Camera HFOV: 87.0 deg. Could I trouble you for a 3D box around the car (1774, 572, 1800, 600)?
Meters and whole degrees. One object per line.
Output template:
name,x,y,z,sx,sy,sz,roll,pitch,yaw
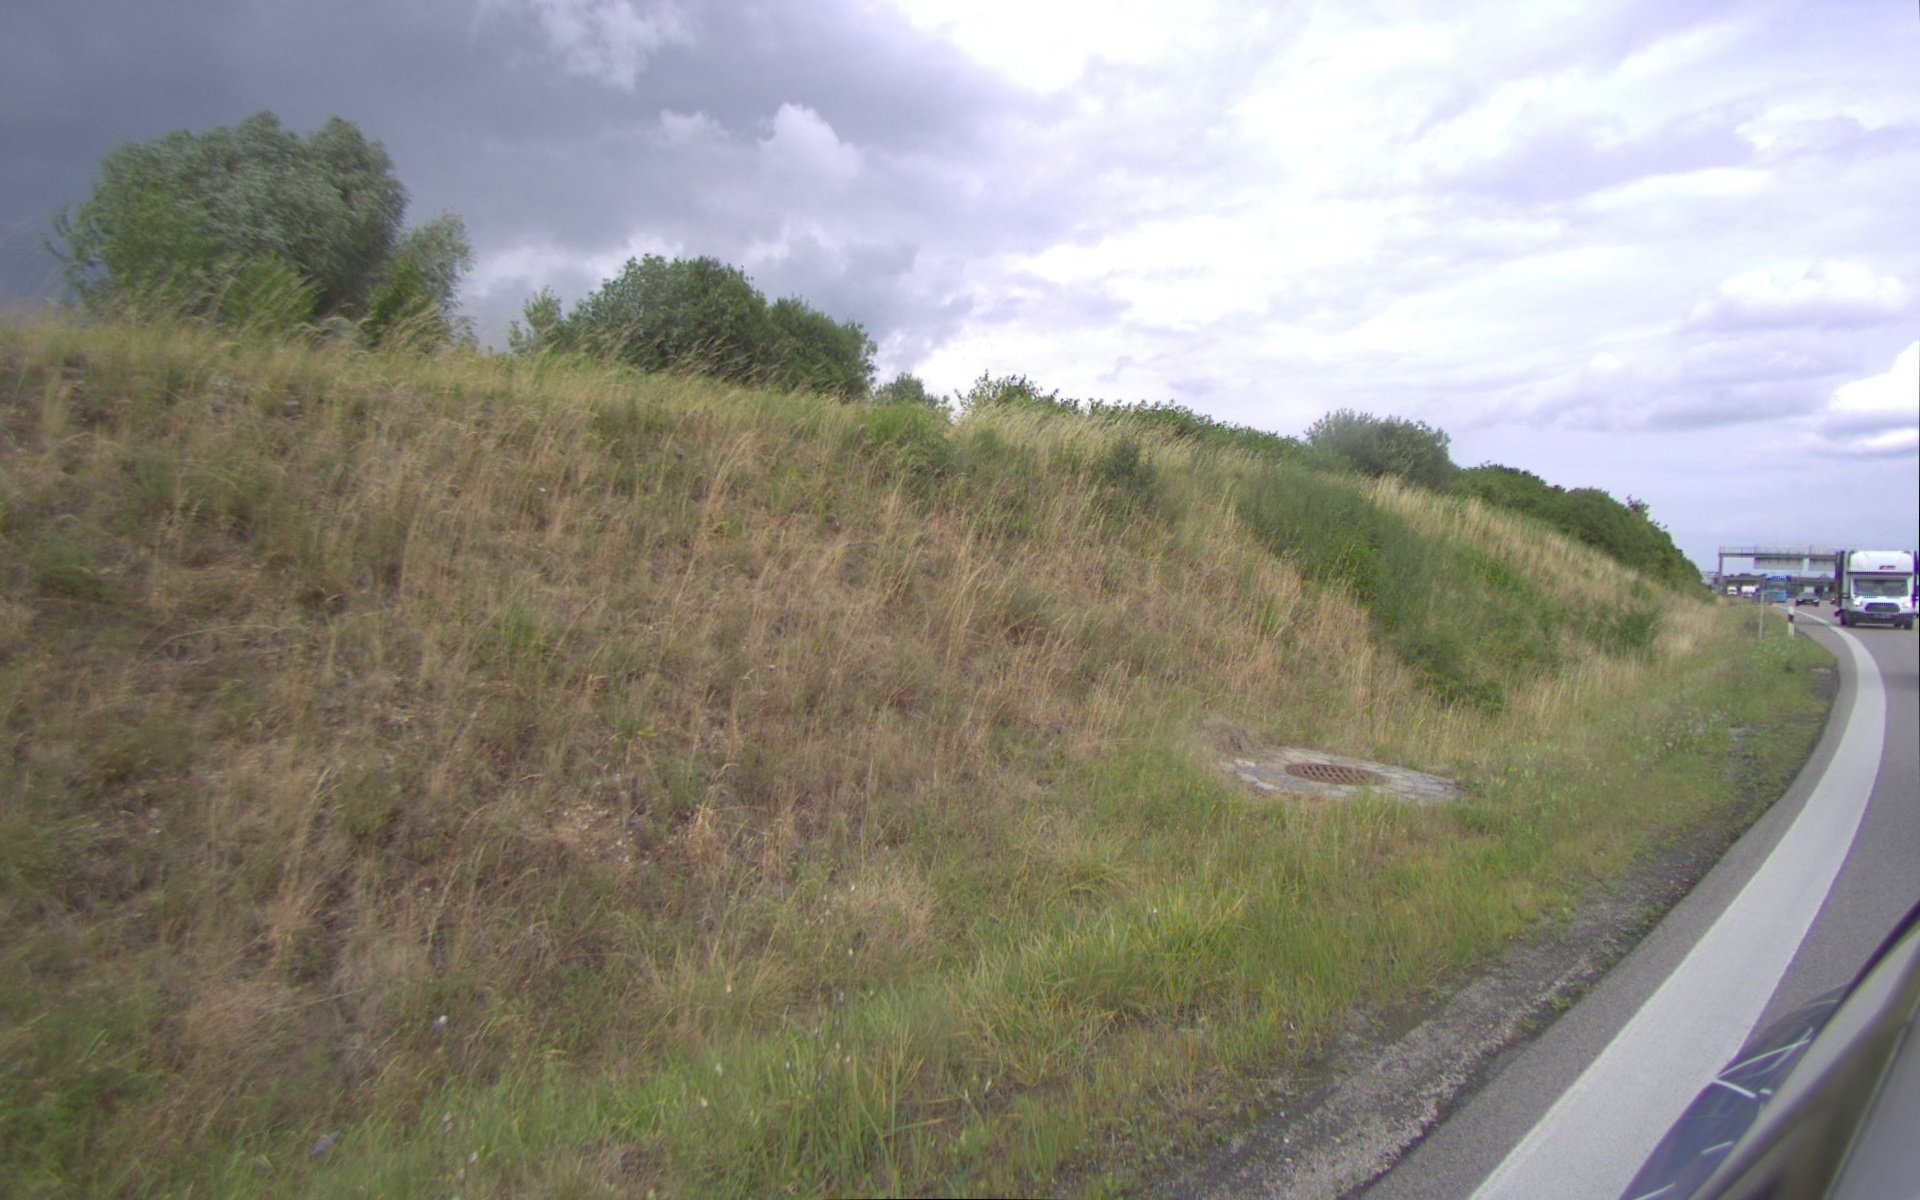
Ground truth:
car,115.575,-1.987,141.558,2.493,3.757,7.597,2,2,38

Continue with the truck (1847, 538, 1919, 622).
truck,39.009,-0.840,42.331,2.438,3.275,7.092,2,2,38

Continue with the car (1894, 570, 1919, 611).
car,59.241,-0.614,62.567,1.991,2.425,3.942,0,1,40

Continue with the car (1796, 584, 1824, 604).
car,88.823,-0.623,105.779,1.990,2.038,3.945,2,2,38

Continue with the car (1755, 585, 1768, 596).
car,154.438,-1.893,195.092,1.922,2.057,3.945,2,2,38
